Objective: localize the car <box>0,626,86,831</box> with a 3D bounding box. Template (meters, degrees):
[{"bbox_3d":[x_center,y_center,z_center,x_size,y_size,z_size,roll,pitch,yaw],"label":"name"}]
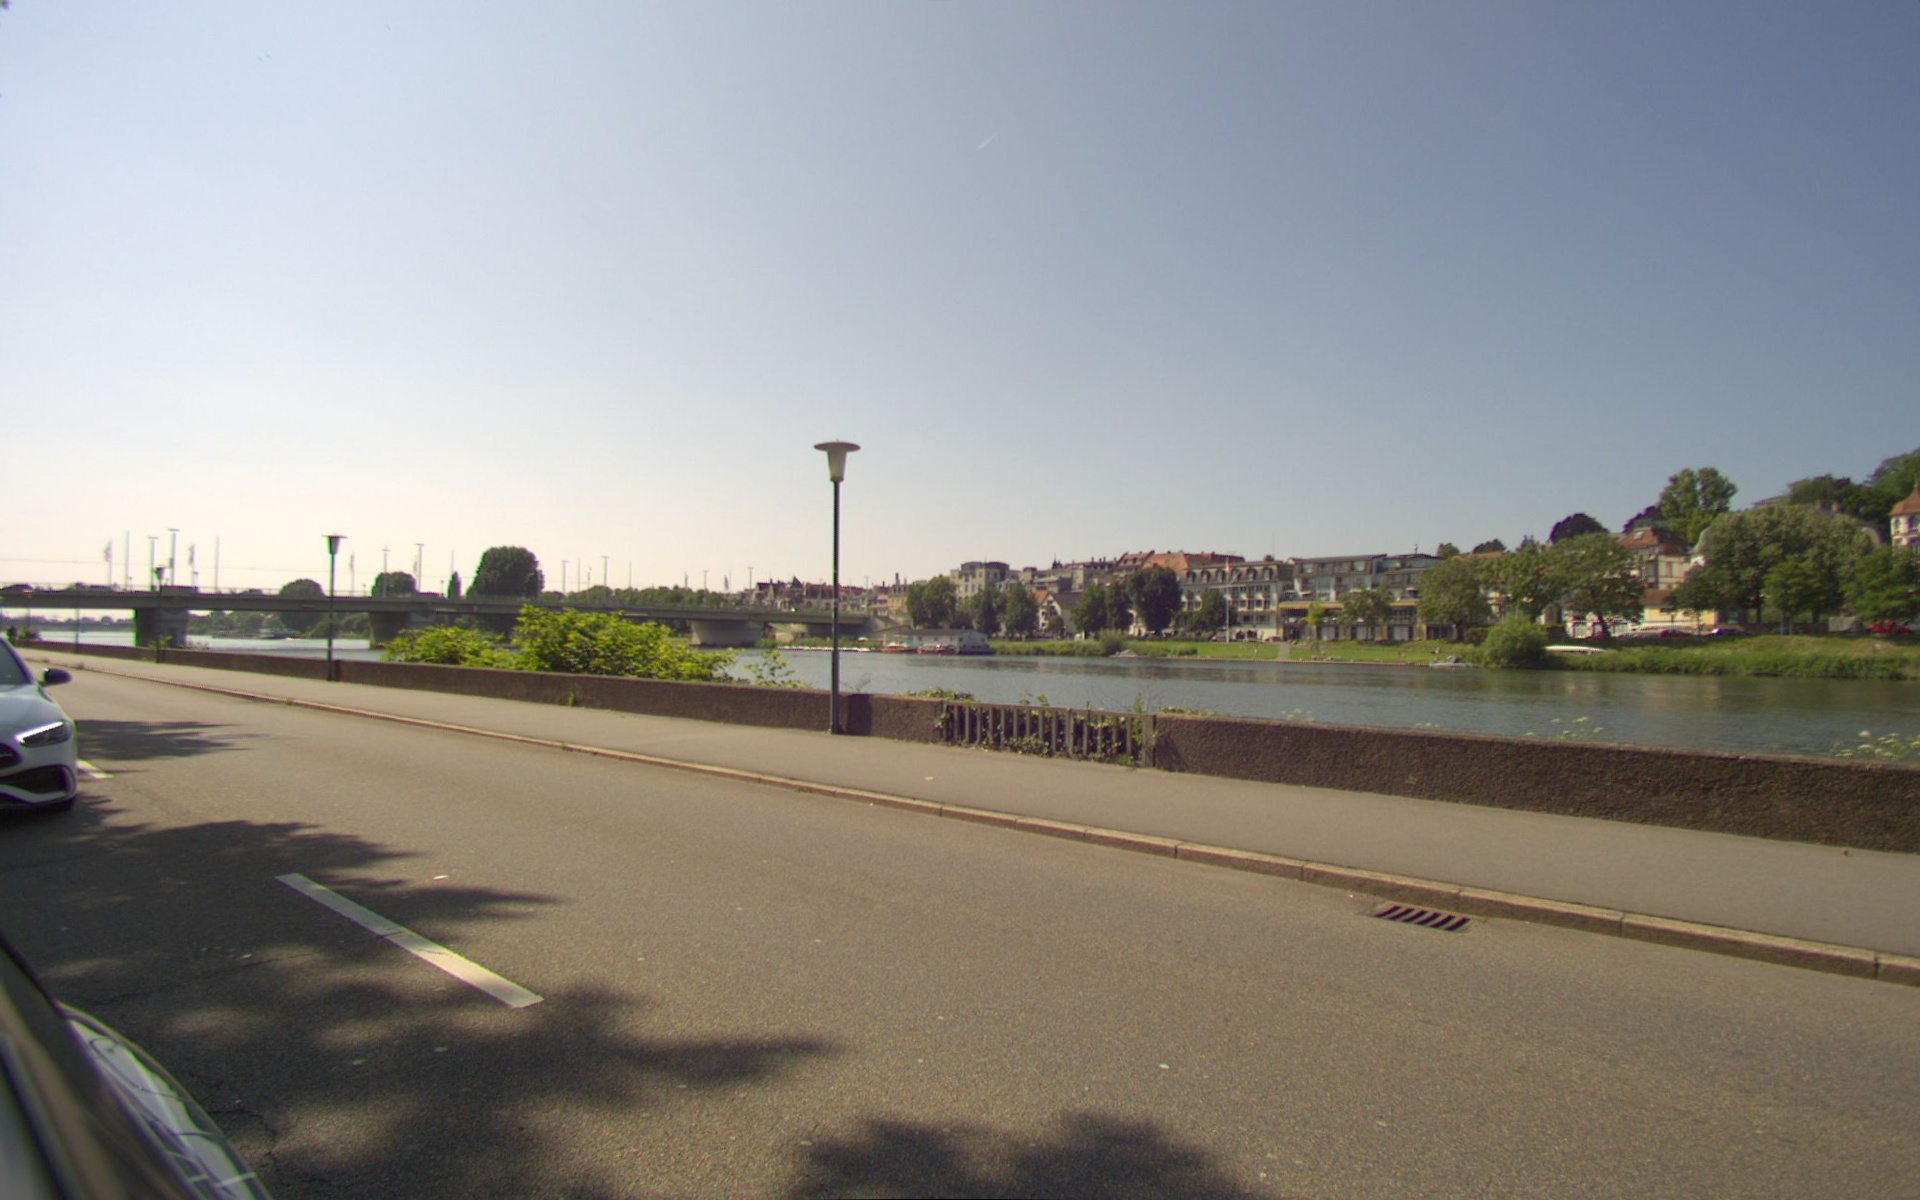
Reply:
[{"bbox_3d":[-8.713,0.949,8.275,4.551,1.430,1.806,-2,-2,42],"label":"car"}]

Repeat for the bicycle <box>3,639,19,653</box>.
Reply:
[{"bbox_3d":[-65.425,3.171,69.770,1.943,0.990,0.645,-2,-3,42],"label":"bicycle"}]

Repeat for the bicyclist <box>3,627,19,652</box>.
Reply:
[{"bbox_3d":[-65.481,2.739,69.825,0.975,1.715,0.654,-2,-3,42],"label":"bicyclist"}]
